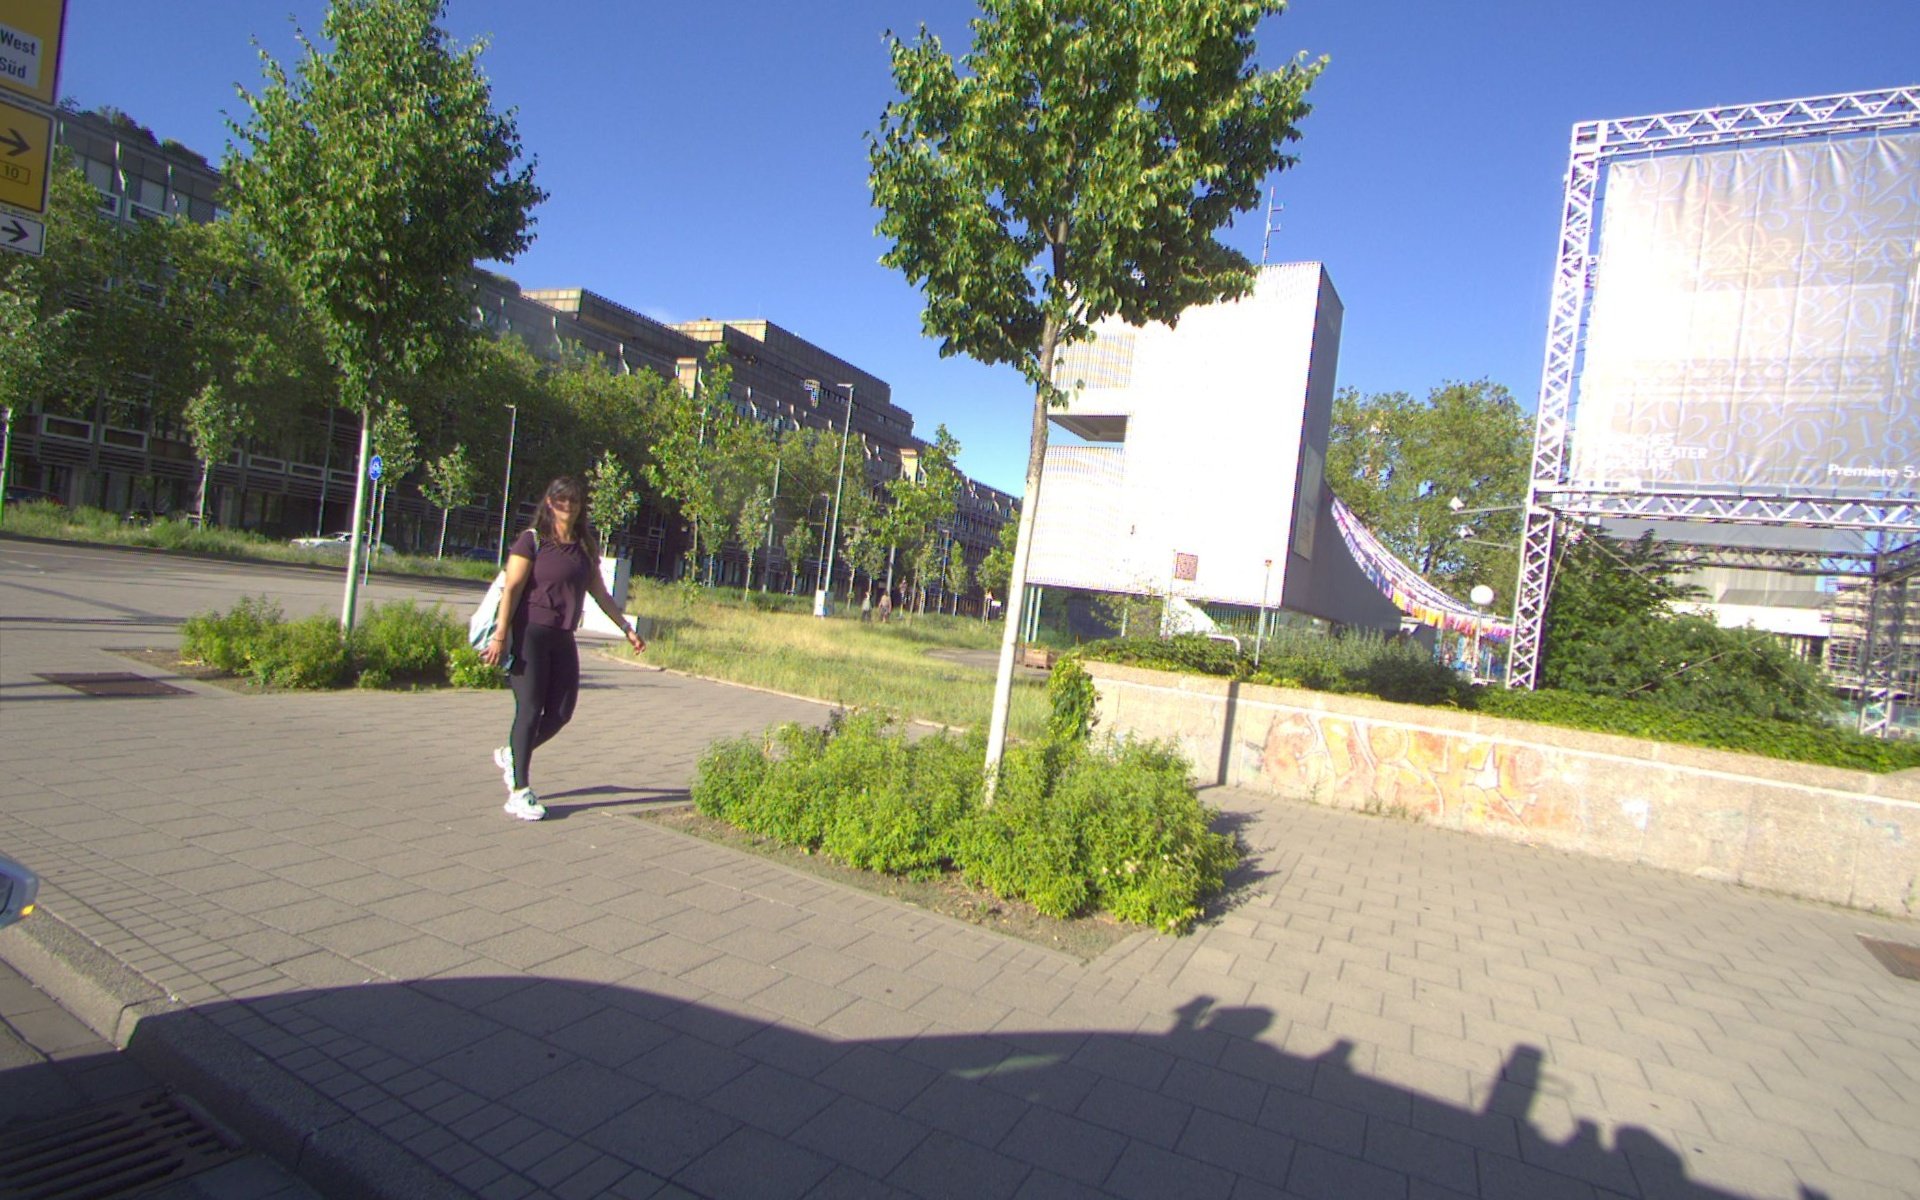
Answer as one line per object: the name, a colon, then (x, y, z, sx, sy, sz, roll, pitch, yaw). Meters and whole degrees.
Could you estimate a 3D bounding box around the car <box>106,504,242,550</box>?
car: (-37.434, -3.458, 48.072, 1.965, 1.373, 4.641, 9, 0, 27)

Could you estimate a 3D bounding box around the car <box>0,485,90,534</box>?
car: (-34.419, -3.418, 35.898, 1.965, 1.373, 4.641, 9, 0, 27)

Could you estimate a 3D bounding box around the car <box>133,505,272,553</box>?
car: (-34.537, -3.208, 46.013, 1.965, 1.373, 4.641, 9, 0, 27)

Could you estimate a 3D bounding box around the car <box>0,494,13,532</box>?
car: (-38.843, -3.629, 37.541, 1.965, 1.373, 4.641, 9, 0, 27)

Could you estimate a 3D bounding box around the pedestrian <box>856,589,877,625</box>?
pedestrian: (-4.255, 0.317, 45.786, 0.513, 1.591, 0.620, 7, 1, 23)

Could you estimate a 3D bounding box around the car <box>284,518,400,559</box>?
car: (-31.542, -3.111, 51.512, 1.965, 1.373, 4.641, 9, 0, 27)

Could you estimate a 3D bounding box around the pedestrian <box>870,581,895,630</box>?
pedestrian: (-3.357, 0.229, 43.619, 0.669, 2.039, 0.620, 7, 1, 23)

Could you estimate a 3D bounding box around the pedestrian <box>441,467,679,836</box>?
pedestrian: (-2.190, 0.247, 5.453, 0.817, 1.771, 1.031, 5, 2, -37)
